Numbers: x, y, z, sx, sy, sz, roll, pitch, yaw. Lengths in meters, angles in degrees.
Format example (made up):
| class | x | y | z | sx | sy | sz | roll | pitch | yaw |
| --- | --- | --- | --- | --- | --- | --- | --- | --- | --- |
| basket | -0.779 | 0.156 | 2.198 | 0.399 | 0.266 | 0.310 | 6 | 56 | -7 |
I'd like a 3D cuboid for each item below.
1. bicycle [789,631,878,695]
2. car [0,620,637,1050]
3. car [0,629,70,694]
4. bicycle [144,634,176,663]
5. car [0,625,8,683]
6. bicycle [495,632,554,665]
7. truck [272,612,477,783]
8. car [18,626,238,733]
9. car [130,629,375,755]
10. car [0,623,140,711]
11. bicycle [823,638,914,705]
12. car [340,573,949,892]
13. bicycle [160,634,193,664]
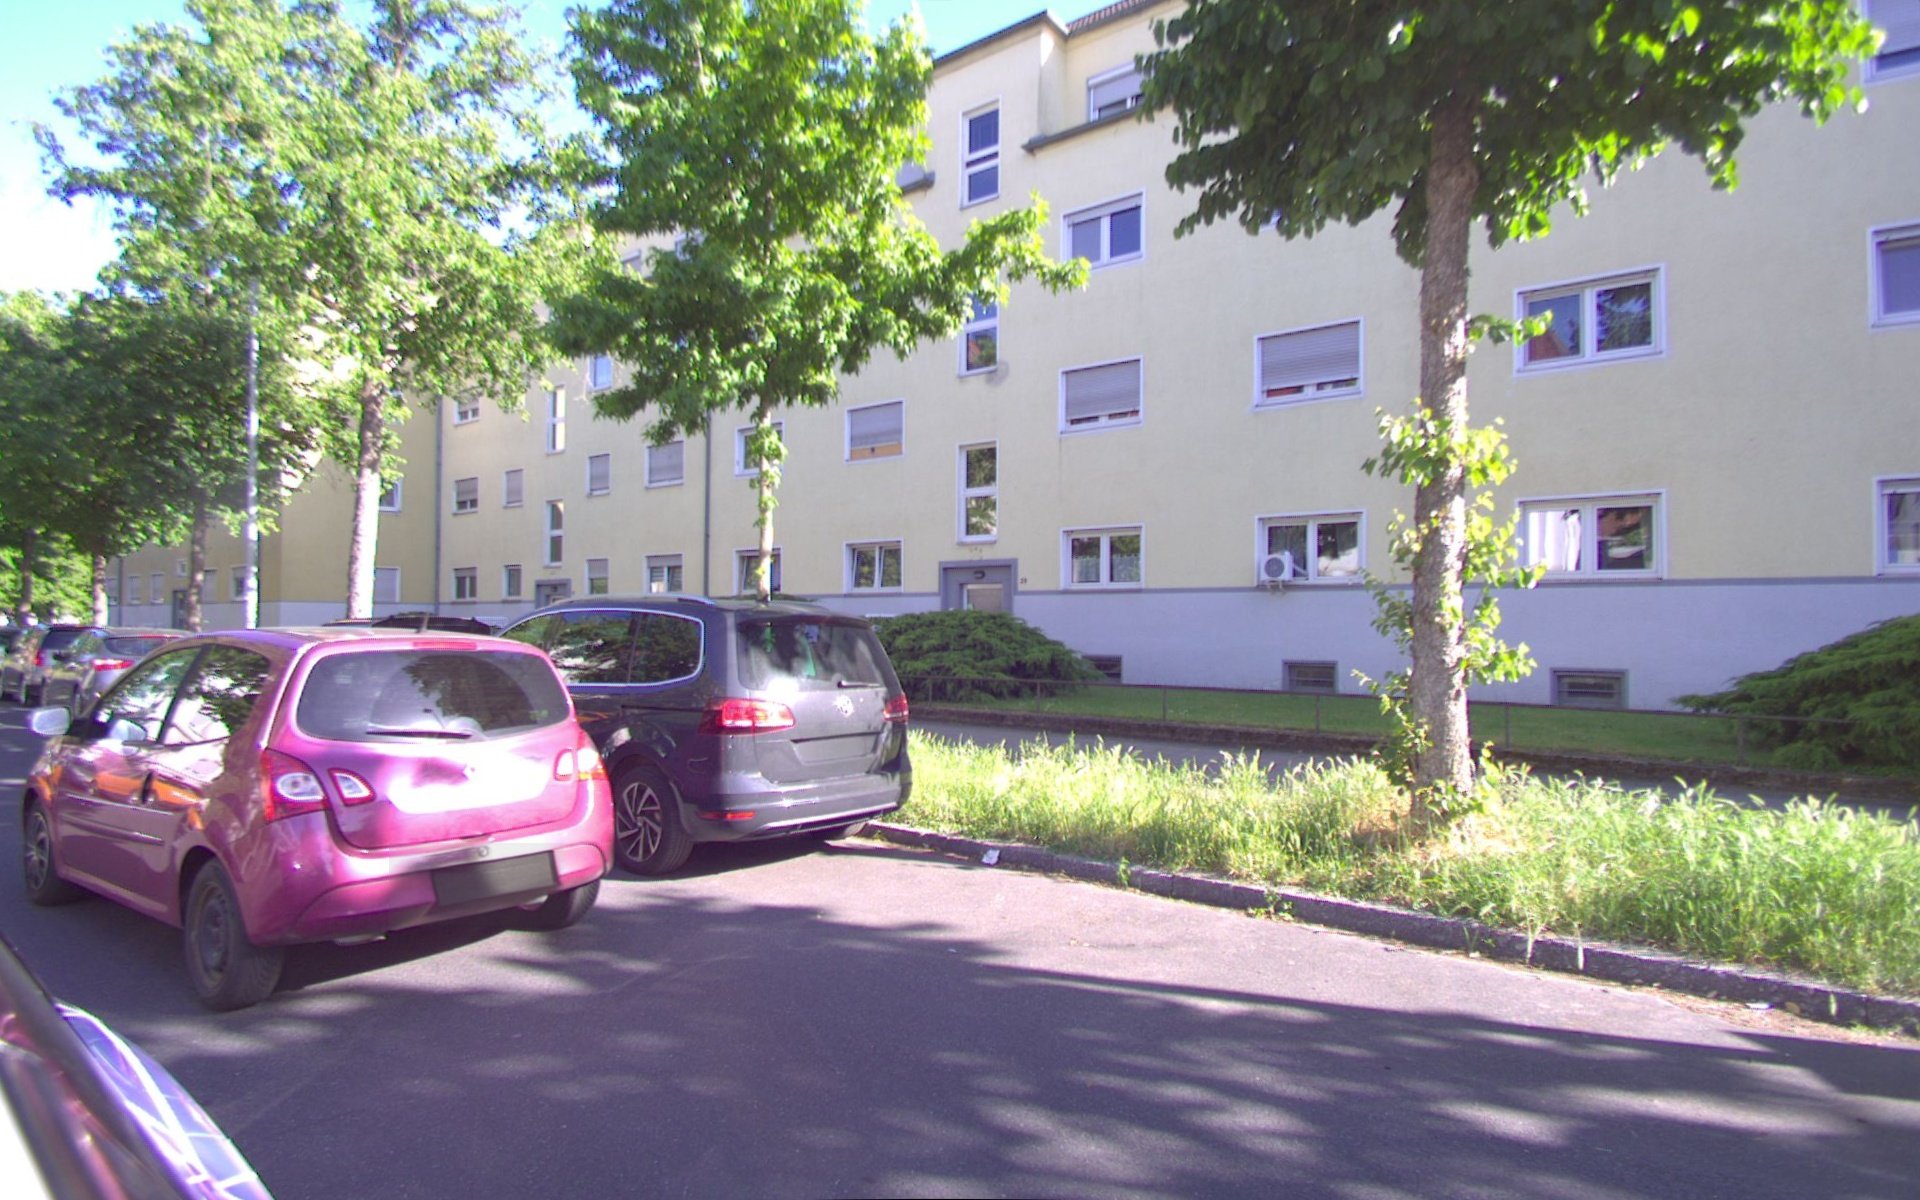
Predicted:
| class | x | y | z | sx | sy | sz | roll | pitch | yaw |
| --- | --- | --- | --- | --- | --- | --- | --- | --- | --- |
| bicycle | -2.390 | 1.180 | 19.317 | 0.486 | 1.089 | 1.820 | 0 | 1 | 41 |
| car | -3.222 | 0.839 | 4.932 | 3.169 | 1.437 | 1.493 | -1 | -3 | 34 |
| car | -22.165 | 1.360 | 23.250 | 4.668 | 1.379 | 1.728 | -1 | -3 | 38 |
| bicycle | -29.036 | 1.743 | 36.705 | 1.746 | 1.034 | 0.535 | -1 | -2 | 40 |
| car | -26.523 | 1.403 | 26.556 | 3.927 | 1.470 | 1.649 | -1 | -3 | 38 |
| bicycle | -12.777 | 1.430 | 29.742 | 0.479 | 0.938 | 1.621 | -1 | -3 | 29 |
| truck | -6.172 | 0.943 | 10.601 | 2.430 | 1.589 | 1.073 | -1 | -3 | 40 |
| car | -13.213 | 1.168 | 15.969 | 4.683 | 1.455 | 1.773 | -1 | -4 | 40 |
| car | -9.265 | 1.094 | 13.169 | 3.720 | 1.406 | 1.507 | -1 | -2 | 37 |
| car | -17.505 | 1.245 | 19.586 | 4.264 | 1.527 | 1.604 | -1 | -5 | 39 |
| bicycle | -1.537 | 1.195 | 17.320 | 0.485 | 1.089 | 1.823 | -1 | -2 | 34 |
| car | -2.606 | 0.807 | 7.655 | 4.969 | 1.693 | 1.832 | -1 | -5 | 38 |
| bicycle | -27.513 | 1.705 | 35.519 | 1.746 | 1.034 | 0.530 | -1 | -2 | 40 |
